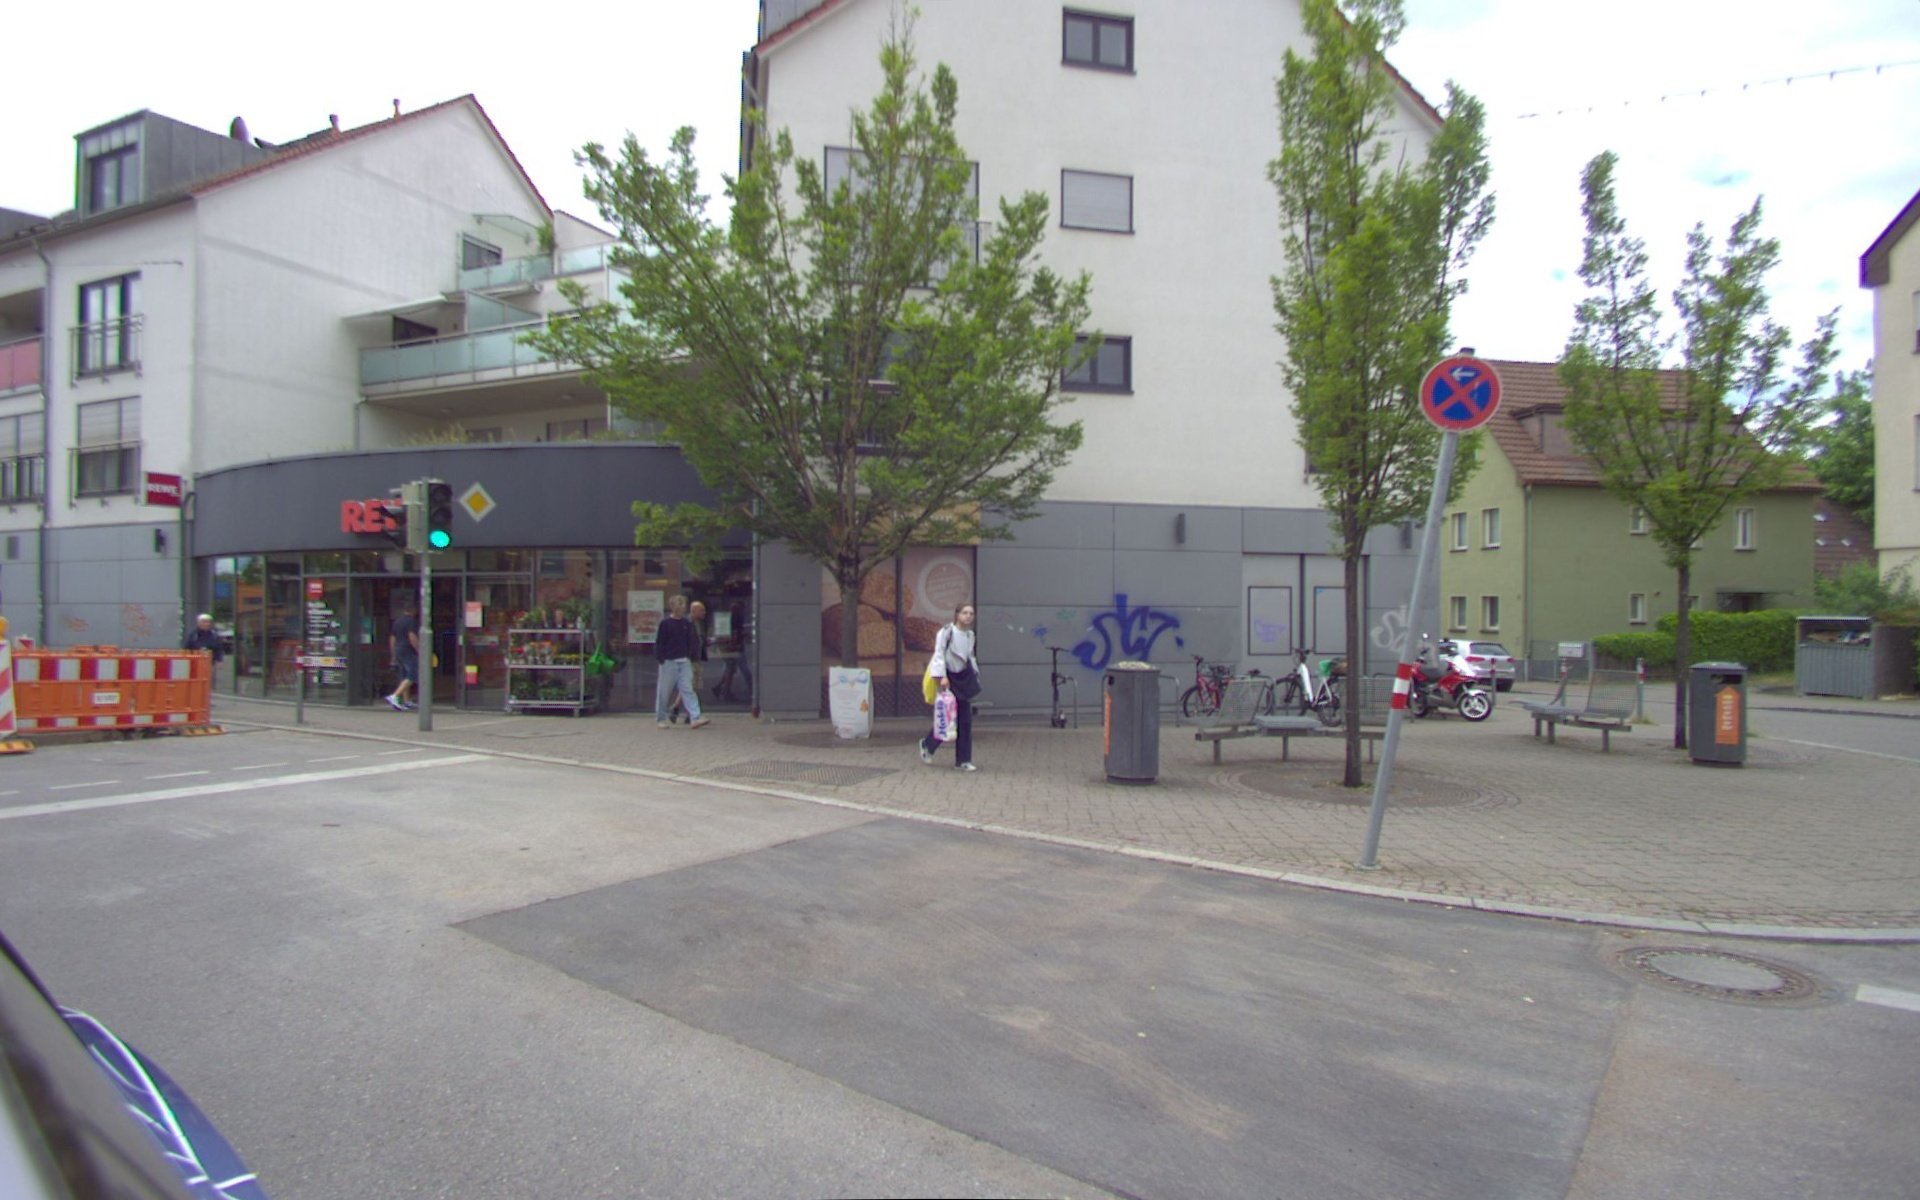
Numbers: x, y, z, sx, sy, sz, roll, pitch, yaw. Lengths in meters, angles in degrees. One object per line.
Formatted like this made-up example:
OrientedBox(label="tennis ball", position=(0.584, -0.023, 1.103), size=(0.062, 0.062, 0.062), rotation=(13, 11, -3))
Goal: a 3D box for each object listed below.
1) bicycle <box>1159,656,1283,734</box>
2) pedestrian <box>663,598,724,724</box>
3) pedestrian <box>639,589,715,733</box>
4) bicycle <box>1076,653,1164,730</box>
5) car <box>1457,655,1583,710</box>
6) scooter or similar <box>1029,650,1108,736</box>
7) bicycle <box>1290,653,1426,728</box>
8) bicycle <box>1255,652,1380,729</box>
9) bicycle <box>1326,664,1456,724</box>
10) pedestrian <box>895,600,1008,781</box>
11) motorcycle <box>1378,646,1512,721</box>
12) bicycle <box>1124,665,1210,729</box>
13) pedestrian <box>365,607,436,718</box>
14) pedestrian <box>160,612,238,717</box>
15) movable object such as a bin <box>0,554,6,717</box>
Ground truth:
OrientedBox(label="bicycle", position=(3.802, 1.370, 14.974), size=(0.738, 1.054, 2.158), rotation=(1, -4, -17))
OrientedBox(label="pedestrian", position=(-3.942, 0.889, 14.988), size=(0.708, 1.804, 0.693), rotation=(-1, -1, 1))
OrientedBox(label="pedestrian", position=(-3.910, 0.830, 14.044), size=(0.774, 1.940, 0.816), rotation=(-1, -1, 5))
OrientedBox(label="bicycle", position=(2.314, 1.351, 14.850), size=(0.522, 1.054, 1.750), rotation=(1, -6, -17))
OrientedBox(label="car", position=(10.763, 1.561, 19.540), size=(0.964, 0.948, 1.934), rotation=(1, -2, -22))
OrientedBox(label="scooter or similar", position=(1.550, 1.319, 14.739), size=(0.587, 1.132, 1.537), rotation=(0, -2, -16))
OrientedBox(label="bicycle", position=(6.149, 1.394, 15.797), size=(0.681, 1.069, 2.132), rotation=(0, -4, -20))
OrientedBox(label="bicycle", position=(5.373, 1.332, 15.378), size=(0.798, 1.082, 1.966), rotation=(1, -3, -15))
OrientedBox(label="bicycle", position=(6.835, 1.485, 16.178), size=(0.618, 0.873, 2.081), rotation=(0, -4, -20))
OrientedBox(label="pedestrian", position=(-0.088, 0.821, 9.558), size=(0.672, 1.604, 0.881), rotation=(1, -2, -38))
OrientedBox(label="motorcycle", position=(7.883, 1.322, 16.561), size=(0.789, 1.113, 1.961), rotation=(1, -2, -20))
OrientedBox(label="bicycle", position=(3.044, 1.453, 15.028), size=(0.488, 0.890, 1.634), rotation=(1, -7, -17))
OrientedBox(label="pedestrian", position=(-9.664, 1.065, 17.483), size=(0.782, 1.858, 0.750), rotation=(-1, -1, 19))
OrientedBox(label="pedestrian", position=(-12.987, 1.082, 17.278), size=(0.813, 1.726, 0.825), rotation=(-2, -2, 32))
OrientedBox(label="movable object such as a bin", position=(-18.800, 0.593, 17.626), size=(4.485, 2.784, 1.827), rotation=(0, -1, 28))
